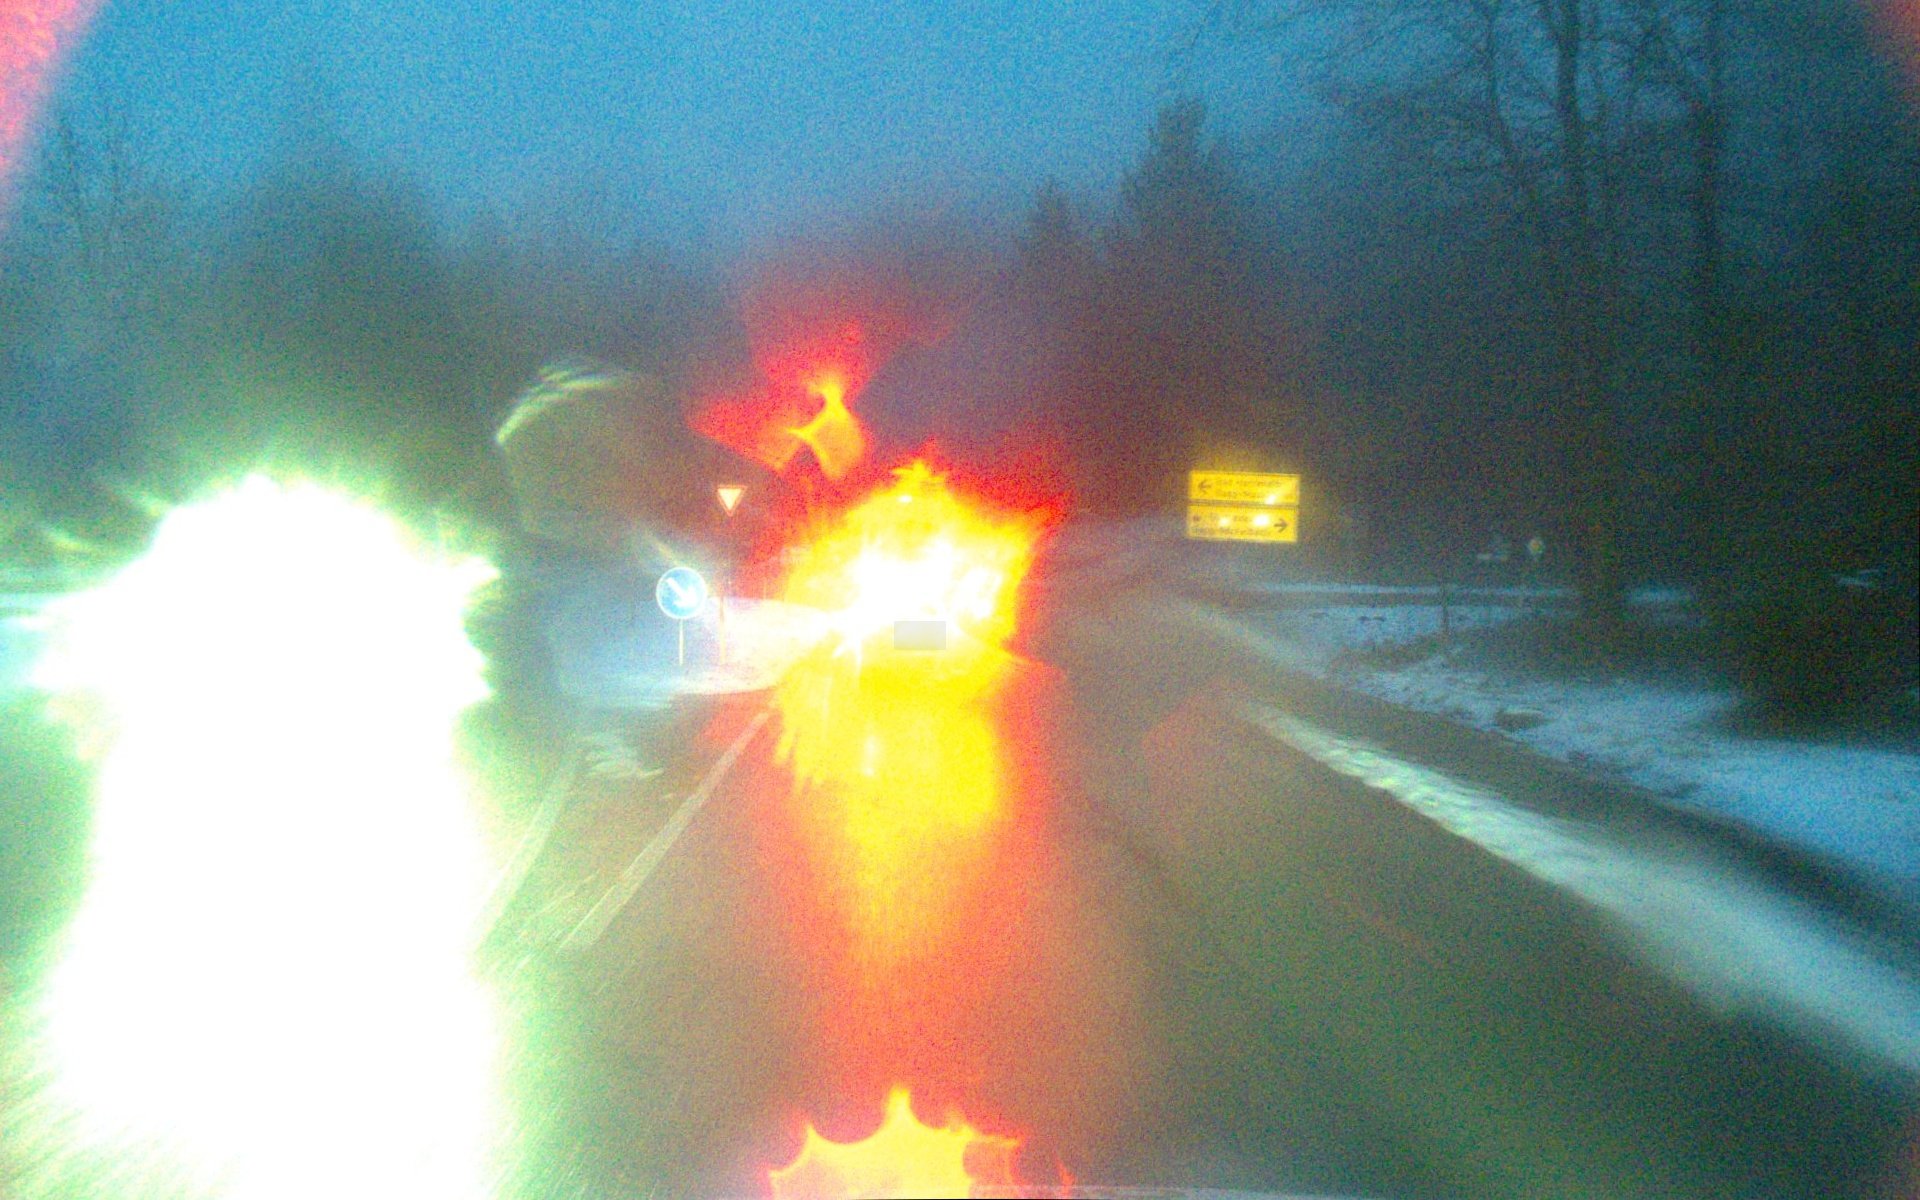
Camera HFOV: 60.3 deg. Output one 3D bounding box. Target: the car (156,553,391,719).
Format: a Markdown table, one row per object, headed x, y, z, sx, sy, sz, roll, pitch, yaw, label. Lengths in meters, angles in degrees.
| x | y | z | sx | sy | sz | roll | pitch | yaw | label |
| --- | --- | --- | --- | --- | --- | --- | --- | --- | --- |
| -7.086 | 0.272 | 17.443 | 1.712 | 1.512 | 3.989 | -1 | 2 | -15 | car |

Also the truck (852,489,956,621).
| x | y | z | sx | sy | sz | roll | pitch | yaw | label |
| --- | --- | --- | --- | --- | --- | --- | --- | --- | --- |
| -1.399 | -1.033 | 38.780 | 2.035 | 2.793 | 5.314 | 2 | 1 | -5 | truck |

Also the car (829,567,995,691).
| x | y | z | sx | sy | sz | roll | pitch | yaw | label |
| --- | --- | --- | --- | --- | --- | --- | --- | --- | --- |
| -0.644 | 0.303 | 21.182 | 1.883 | 1.299 | 3.999 | 2 | 2 | -3 | car |
